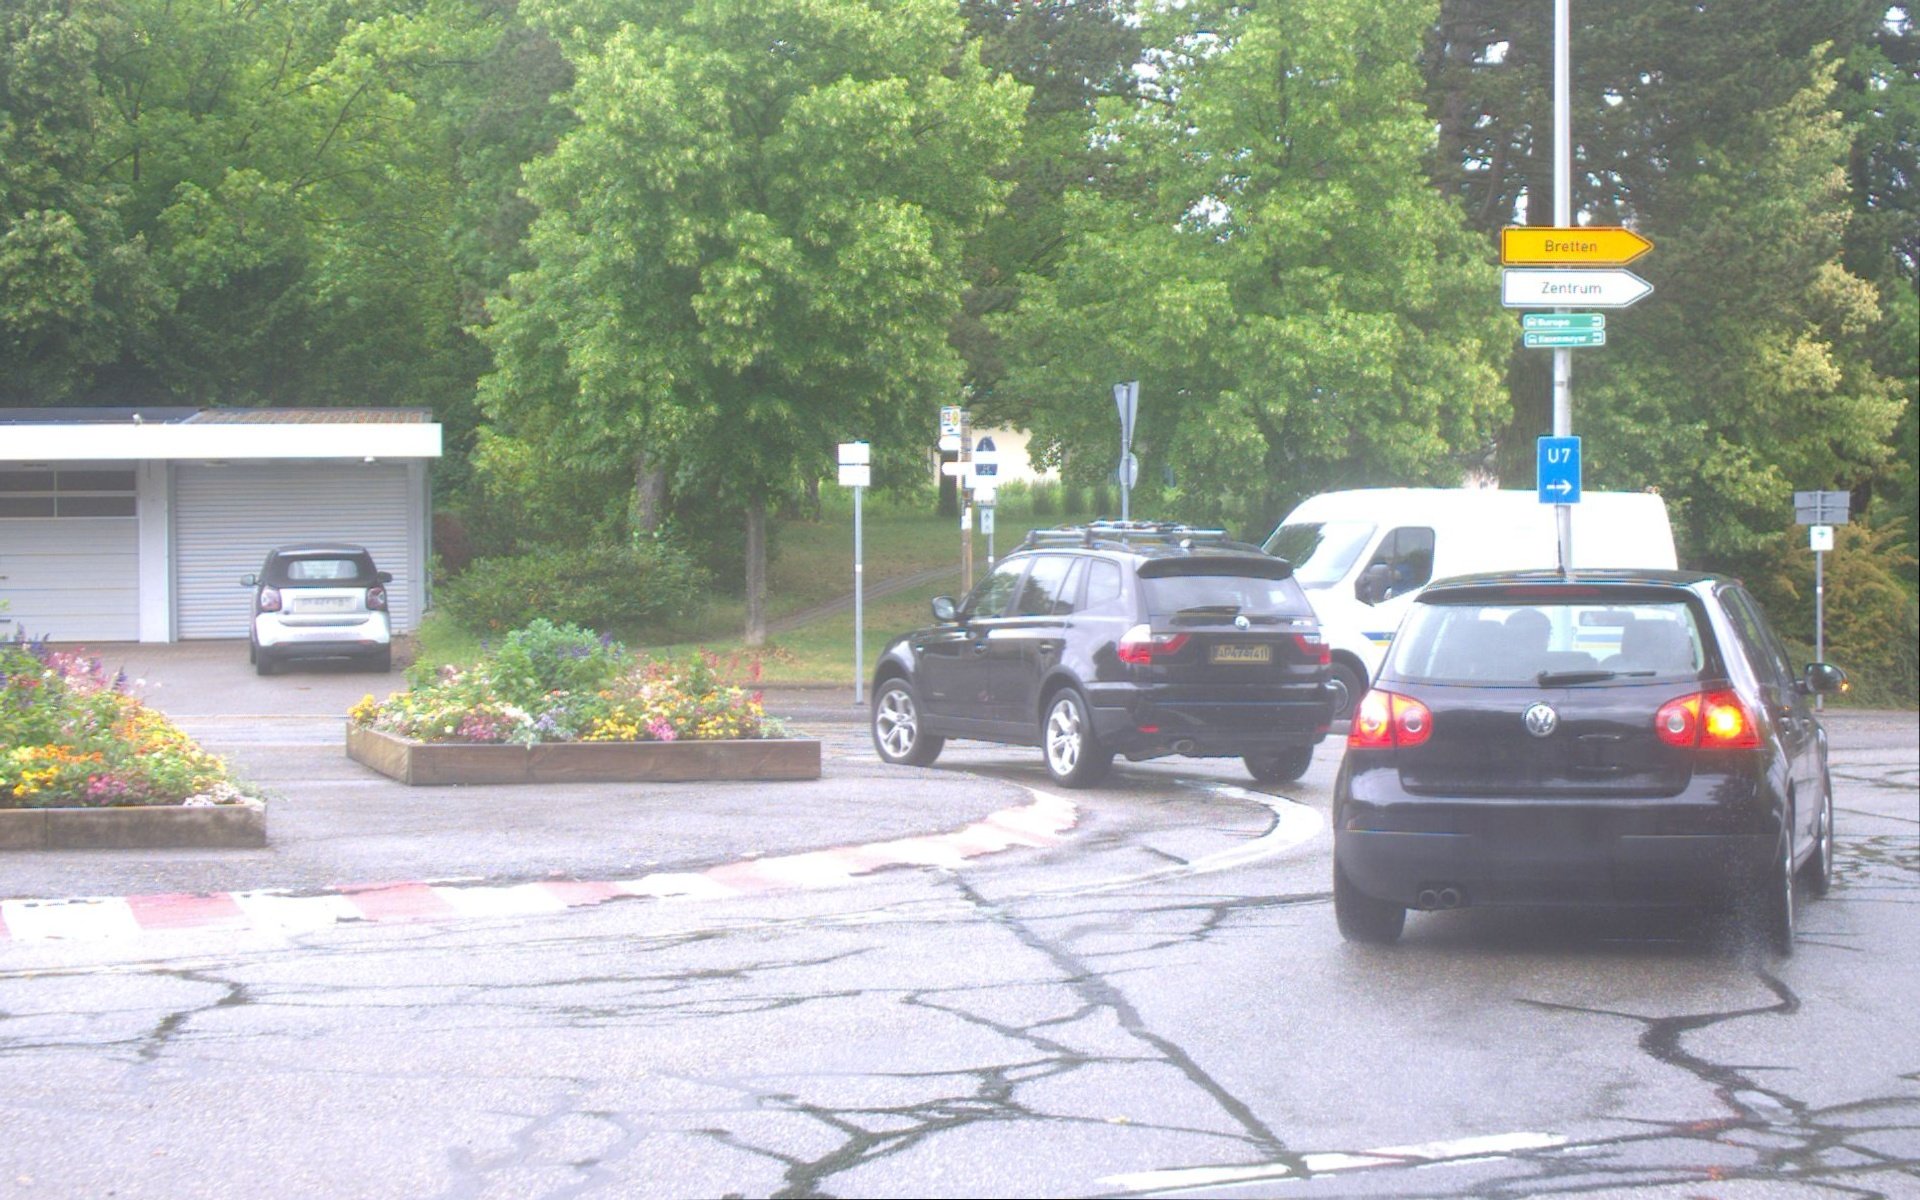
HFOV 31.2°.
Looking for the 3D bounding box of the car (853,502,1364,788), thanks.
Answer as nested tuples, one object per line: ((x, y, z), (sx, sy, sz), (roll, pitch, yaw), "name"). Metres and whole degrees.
((0.930, 0.284, 24.164), (1.764, 1.795, 4.247), (-1, 0, -25), "car")

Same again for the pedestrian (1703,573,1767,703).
((10.478, 0.506, 46.496), (0.738, 1.719, 0.816), (1, 0, 18), "pedestrian")

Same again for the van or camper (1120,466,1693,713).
((4.634, -0.075, 35.351), (5.650, 2.370, 2.201), (1, 0, -31), "van or camper")

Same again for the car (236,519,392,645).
((-8.128, -0.253, 43.409), (1.812, 1.481, 3.832), (-1, 1, -10), "car")

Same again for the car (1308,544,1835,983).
((2.691, 0.547, 14.410), (1.766, 1.533, 3.997), (1, 1, 16), "car")
